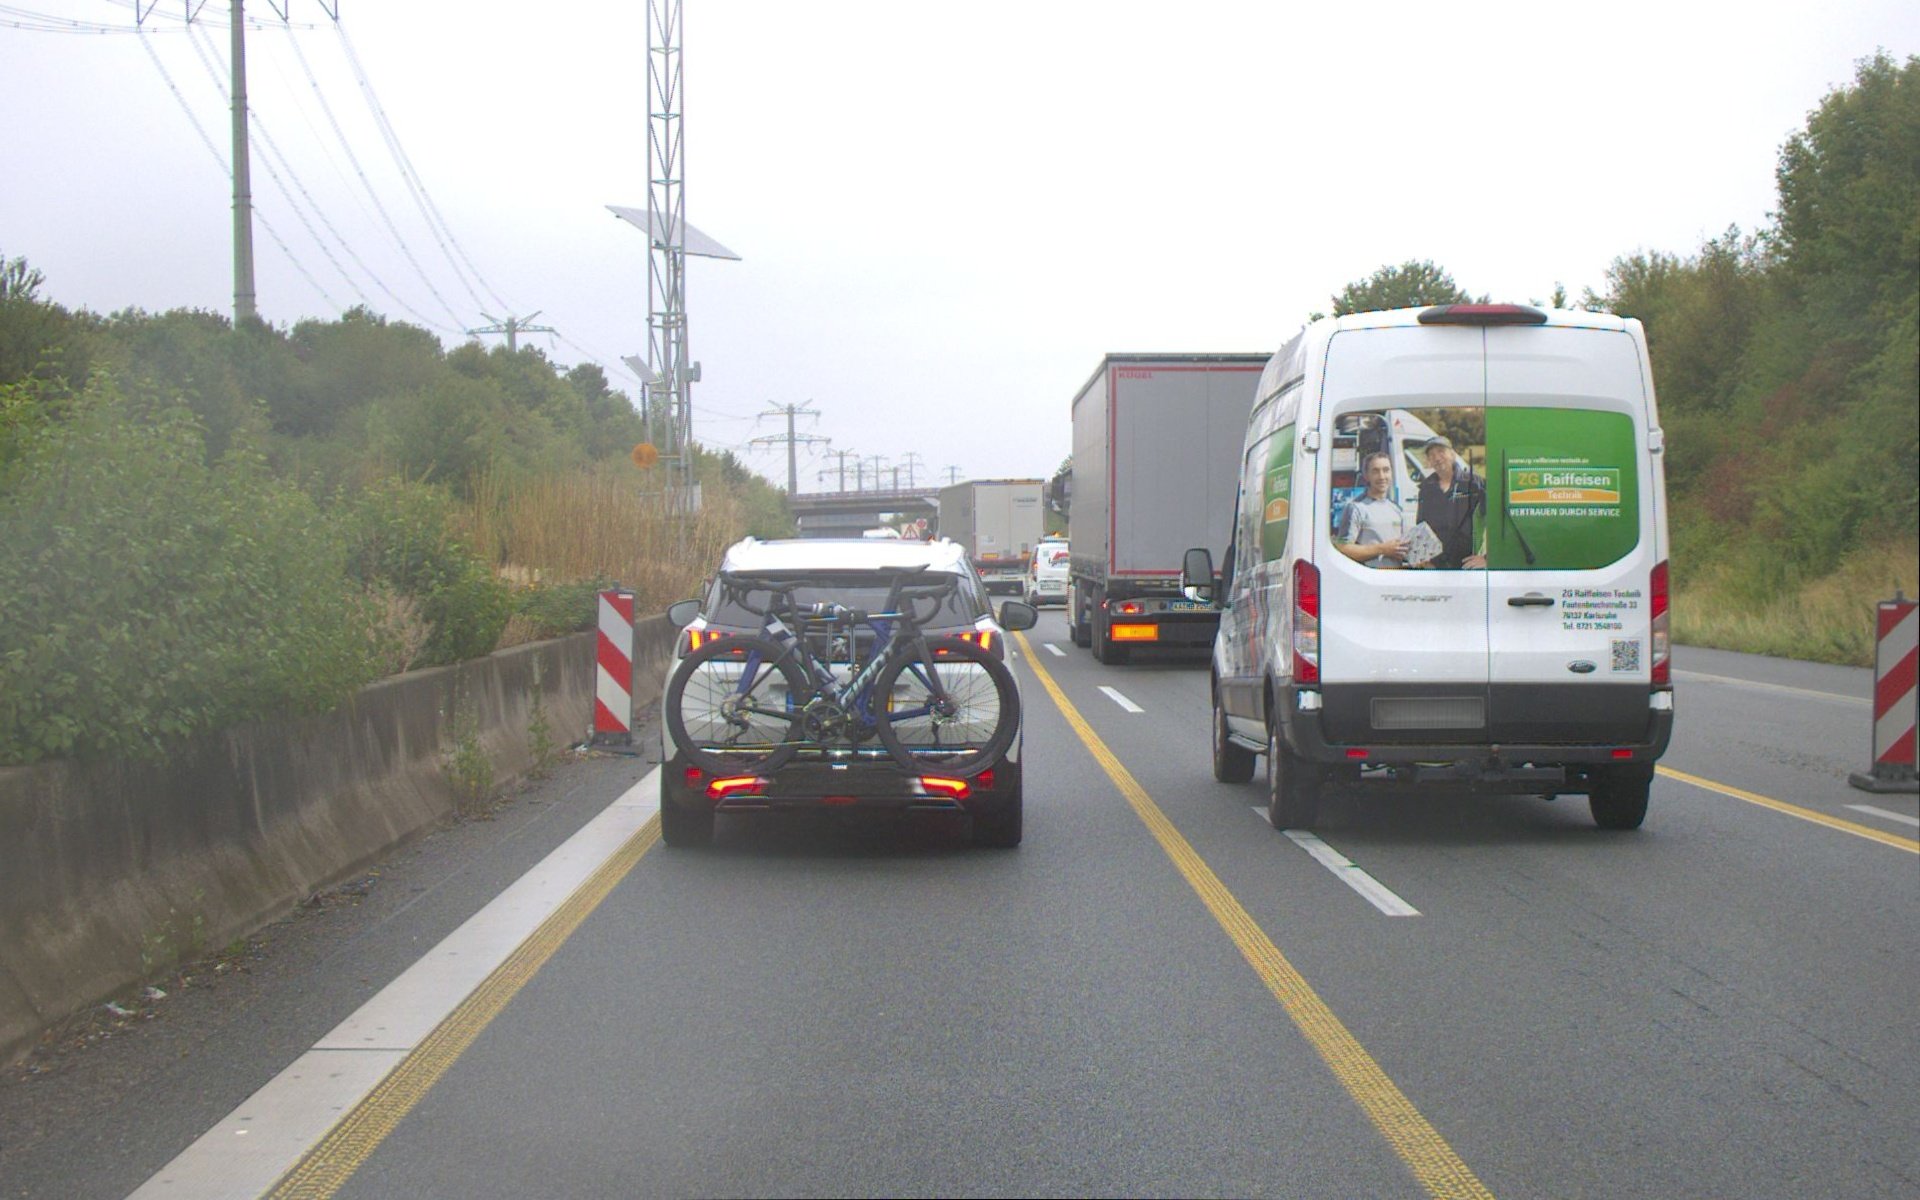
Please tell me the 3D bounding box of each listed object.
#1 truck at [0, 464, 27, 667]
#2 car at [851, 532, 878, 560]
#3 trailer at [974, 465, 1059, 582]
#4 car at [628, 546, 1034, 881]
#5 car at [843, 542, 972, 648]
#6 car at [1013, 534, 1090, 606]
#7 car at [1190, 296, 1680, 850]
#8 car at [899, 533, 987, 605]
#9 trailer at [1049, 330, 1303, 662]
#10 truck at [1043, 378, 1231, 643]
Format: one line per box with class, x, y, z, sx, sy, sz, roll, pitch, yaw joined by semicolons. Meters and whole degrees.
truck;-16.356;-0.464;52.310;2.261;3.217;7.052;-3;1;0
car;-6.955;-3.941;251.223;1.931;1.966;4.001;0;2;-1
trailer;2.003;-2.767;126.613;2.692;4.062;13.634;0;1;-1
car;-0.620;0.482;18.062;1.850;1.525;4.769;0;1;-1
car;-0.781;-0.104;51.466;1.850;1.525;4.000;0;1;-1
car;2.367;-0.798;90.308;1.829;1.833;4.656;0;1;-1
car;2.585;-0.184;20.176;1.993;2.773;5.757;0;1;-1
car;-0.390;-0.693;74.737;1.850;1.525;4.000;0;1;-1
trailer;2.867;-1.400;49.673;2.706;4.132;13.733;0;1;0
truck;2.817;-1.430;56.313;2.706;4.124;5.691;0;1;-1
